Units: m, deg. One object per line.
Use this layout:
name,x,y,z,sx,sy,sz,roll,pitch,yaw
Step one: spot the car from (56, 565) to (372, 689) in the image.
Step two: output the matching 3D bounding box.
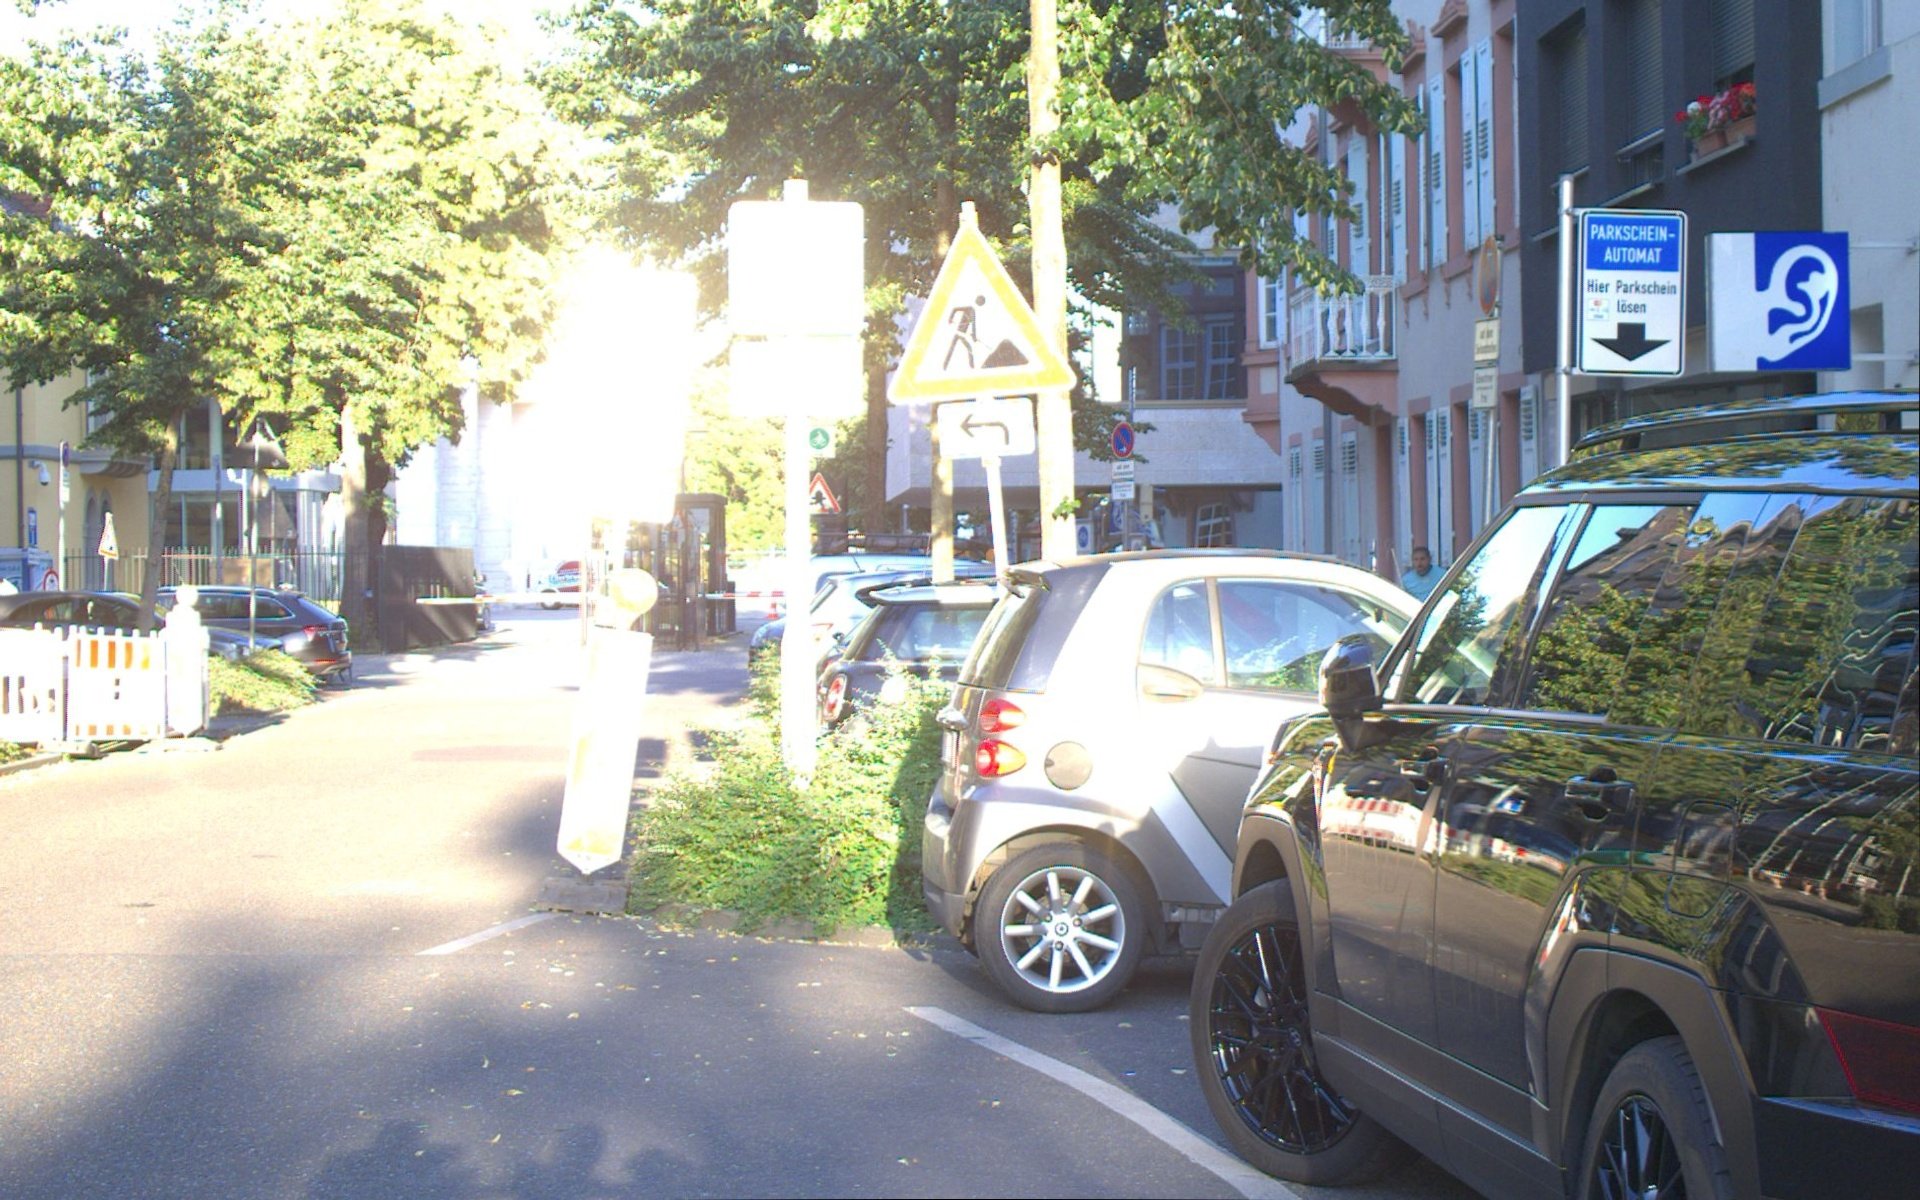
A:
car,-10.369,0.360,47.974,3.987,1.678,1.891,0,1,1

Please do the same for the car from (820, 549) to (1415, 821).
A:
car,0.956,0.526,22.476,3.684,1.664,1.859,1,0,-4

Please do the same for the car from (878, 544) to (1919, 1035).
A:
car,1.544,0.605,12.231,3.469,1.570,1.508,-1,1,-10

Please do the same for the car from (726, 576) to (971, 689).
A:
car,-1.605,0.453,50.587,1.855,1.563,3.690,1,1,32

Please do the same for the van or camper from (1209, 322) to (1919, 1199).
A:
van or camper,1.834,0.536,6.500,1.889,1.801,4.462,0,1,-7

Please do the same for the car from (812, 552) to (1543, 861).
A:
car,1.174,0.584,19.882,3.995,1.664,1.859,1,0,-4

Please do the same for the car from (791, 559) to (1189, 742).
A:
car,0.240,0.467,33.032,3.684,1.664,1.859,1,0,-4

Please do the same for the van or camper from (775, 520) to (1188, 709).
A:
van or camper,0.188,0.151,38.138,4.439,1.999,1.859,1,0,-4

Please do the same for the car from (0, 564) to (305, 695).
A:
car,-10.820,0.371,45.285,3.987,1.678,1.891,0,1,1

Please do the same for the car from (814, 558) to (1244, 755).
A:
car,0.565,0.483,30.749,3.684,1.664,1.859,1,0,-4
